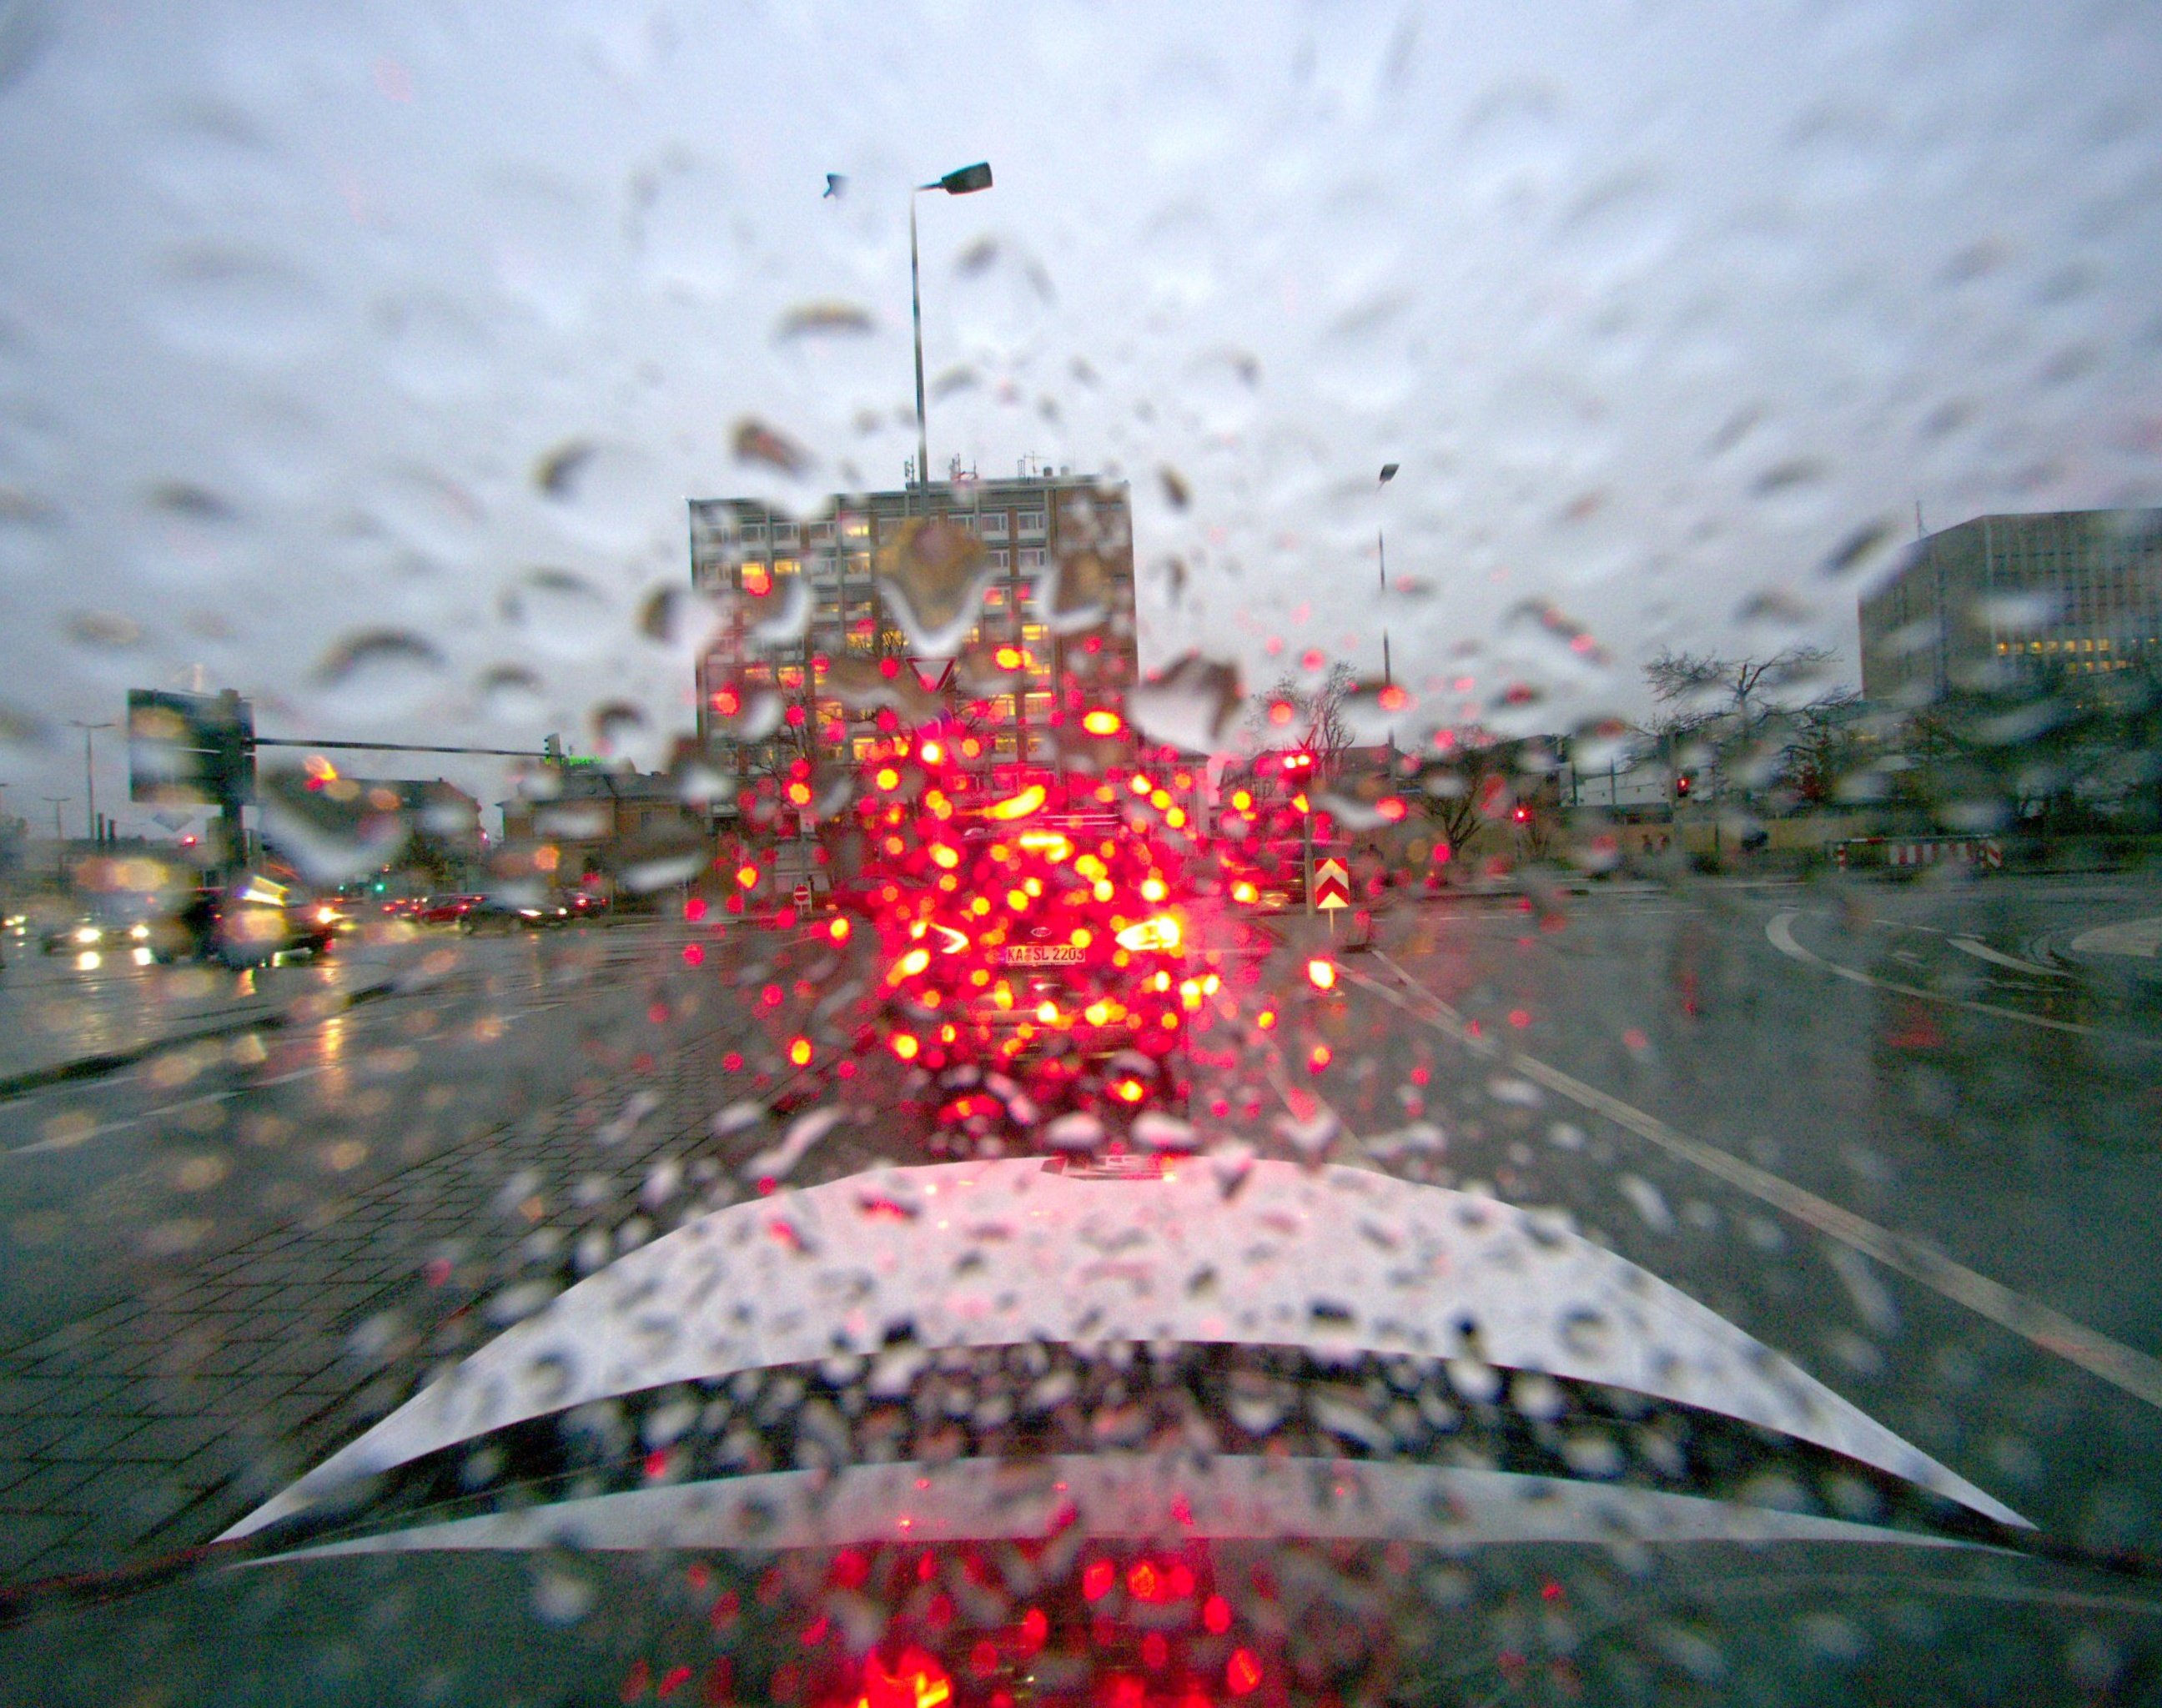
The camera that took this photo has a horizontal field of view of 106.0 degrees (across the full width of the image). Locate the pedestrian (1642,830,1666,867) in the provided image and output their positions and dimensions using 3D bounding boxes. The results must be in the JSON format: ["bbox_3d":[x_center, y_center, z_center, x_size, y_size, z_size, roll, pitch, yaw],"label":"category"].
[{"bbox_3d":[27.935,-0.257,39.706,0.620,1.725,0.762,-1,-2,8],"label":"pedestrian"}]

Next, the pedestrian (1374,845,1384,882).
[{"bbox_3d":[15.137,0.498,41.358,0.434,1.839,0.462,-2,-2,20],"label":"pedestrian"}]

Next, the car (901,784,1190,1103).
[{"bbox_3d":[-0.145,0.509,6.704,1.641,1.819,4.002,-1,0,2],"label":"car"}]

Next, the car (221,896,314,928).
[{"bbox_3d":[-52.606,3.757,52.678,5.114,1.913,2.008,-2,-1,17],"label":"car"}]

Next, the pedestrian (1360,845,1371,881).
[{"bbox_3d":[14.541,0.457,41.619,0.434,1.839,0.462,-2,-2,19],"label":"pedestrian"}]

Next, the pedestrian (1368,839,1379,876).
[{"bbox_3d":[14.599,0.183,40.620,0.454,1.839,0.441,-2,-2,19],"label":"pedestrian"}]

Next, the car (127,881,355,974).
[{"bbox_3d":[-22.749,1.930,22.108,4.981,2.282,2.268,-2,-2,18],"label":"car"}]

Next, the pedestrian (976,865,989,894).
[{"bbox_3d":[-5.688,1.492,47.051,0.642,1.666,0.564,-1,-2,9],"label":"pedestrian"}]

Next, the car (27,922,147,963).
[{"bbox_3d":[-39.429,3.488,32.335,3.611,1.449,1.610,-1,-2,14],"label":"car"}]

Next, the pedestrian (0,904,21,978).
[{"bbox_3d":[-26.342,2.099,19.721,0.605,1.772,0.587,-2,-2,15],"label":"pedestrian"}]

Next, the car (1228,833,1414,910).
[{"bbox_3d":[5.651,0.444,19.488,4.037,1.684,1.766,-1,-2,13],"label":"car"}]

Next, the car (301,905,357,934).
[{"bbox_3d":[-44.865,3.859,48.574,3.368,1.605,1.576,-2,-2,31],"label":"car"}]

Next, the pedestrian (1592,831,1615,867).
[{"bbox_3d":[25.714,-0.221,40.094,0.620,1.725,0.762,-1,-2,8],"label":"pedestrian"}]

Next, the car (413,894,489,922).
[{"bbox_3d":[-33.212,2.832,42.918,3.755,1.398,1.573,-2,-2,24],"label":"car"}]

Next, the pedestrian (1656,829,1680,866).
[{"bbox_3d":[27.966,-0.287,38.805,0.620,1.725,0.762,-1,-2,8],"label":"pedestrian"}]

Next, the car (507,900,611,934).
[{"bbox_3d":[-25.657,3.087,40.043,4.397,1.580,1.977,-2,-2,18],"label":"car"}]

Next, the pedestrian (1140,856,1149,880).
[{"bbox_3d":[3.476,0.771,44.749,0.429,1.270,0.443,-1,-2,13],"label":"pedestrian"}]

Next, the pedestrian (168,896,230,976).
[{"bbox_3d":[-19.557,1.800,18.076,0.456,1.697,0.801,-2,-2,25],"label":"pedestrian"}]

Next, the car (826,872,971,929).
[{"bbox_3d":[-5.673,1.443,25.459,4.040,1.684,1.766,-1,-2,14],"label":"car"}]

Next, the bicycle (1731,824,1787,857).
[{"bbox_3d":[31.281,-0.623,37.582,1.911,1.423,0.594,-1,-2,10],"label":"bicycle"}]

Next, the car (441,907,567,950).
[{"bbox_3d":[-20.862,2.685,29.492,3.800,1.449,1.610,-1,-2,14],"label":"car"}]

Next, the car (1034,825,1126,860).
[{"bbox_3d":[-0.050,-0.702,51.120,5.516,2.024,2.004,-1,-2,7],"label":"car"}]

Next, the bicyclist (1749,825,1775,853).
[{"bbox_3d":[31.390,-0.700,37.548,0.694,1.246,0.609,-1,-2,10],"label":"bicyclist"}]
